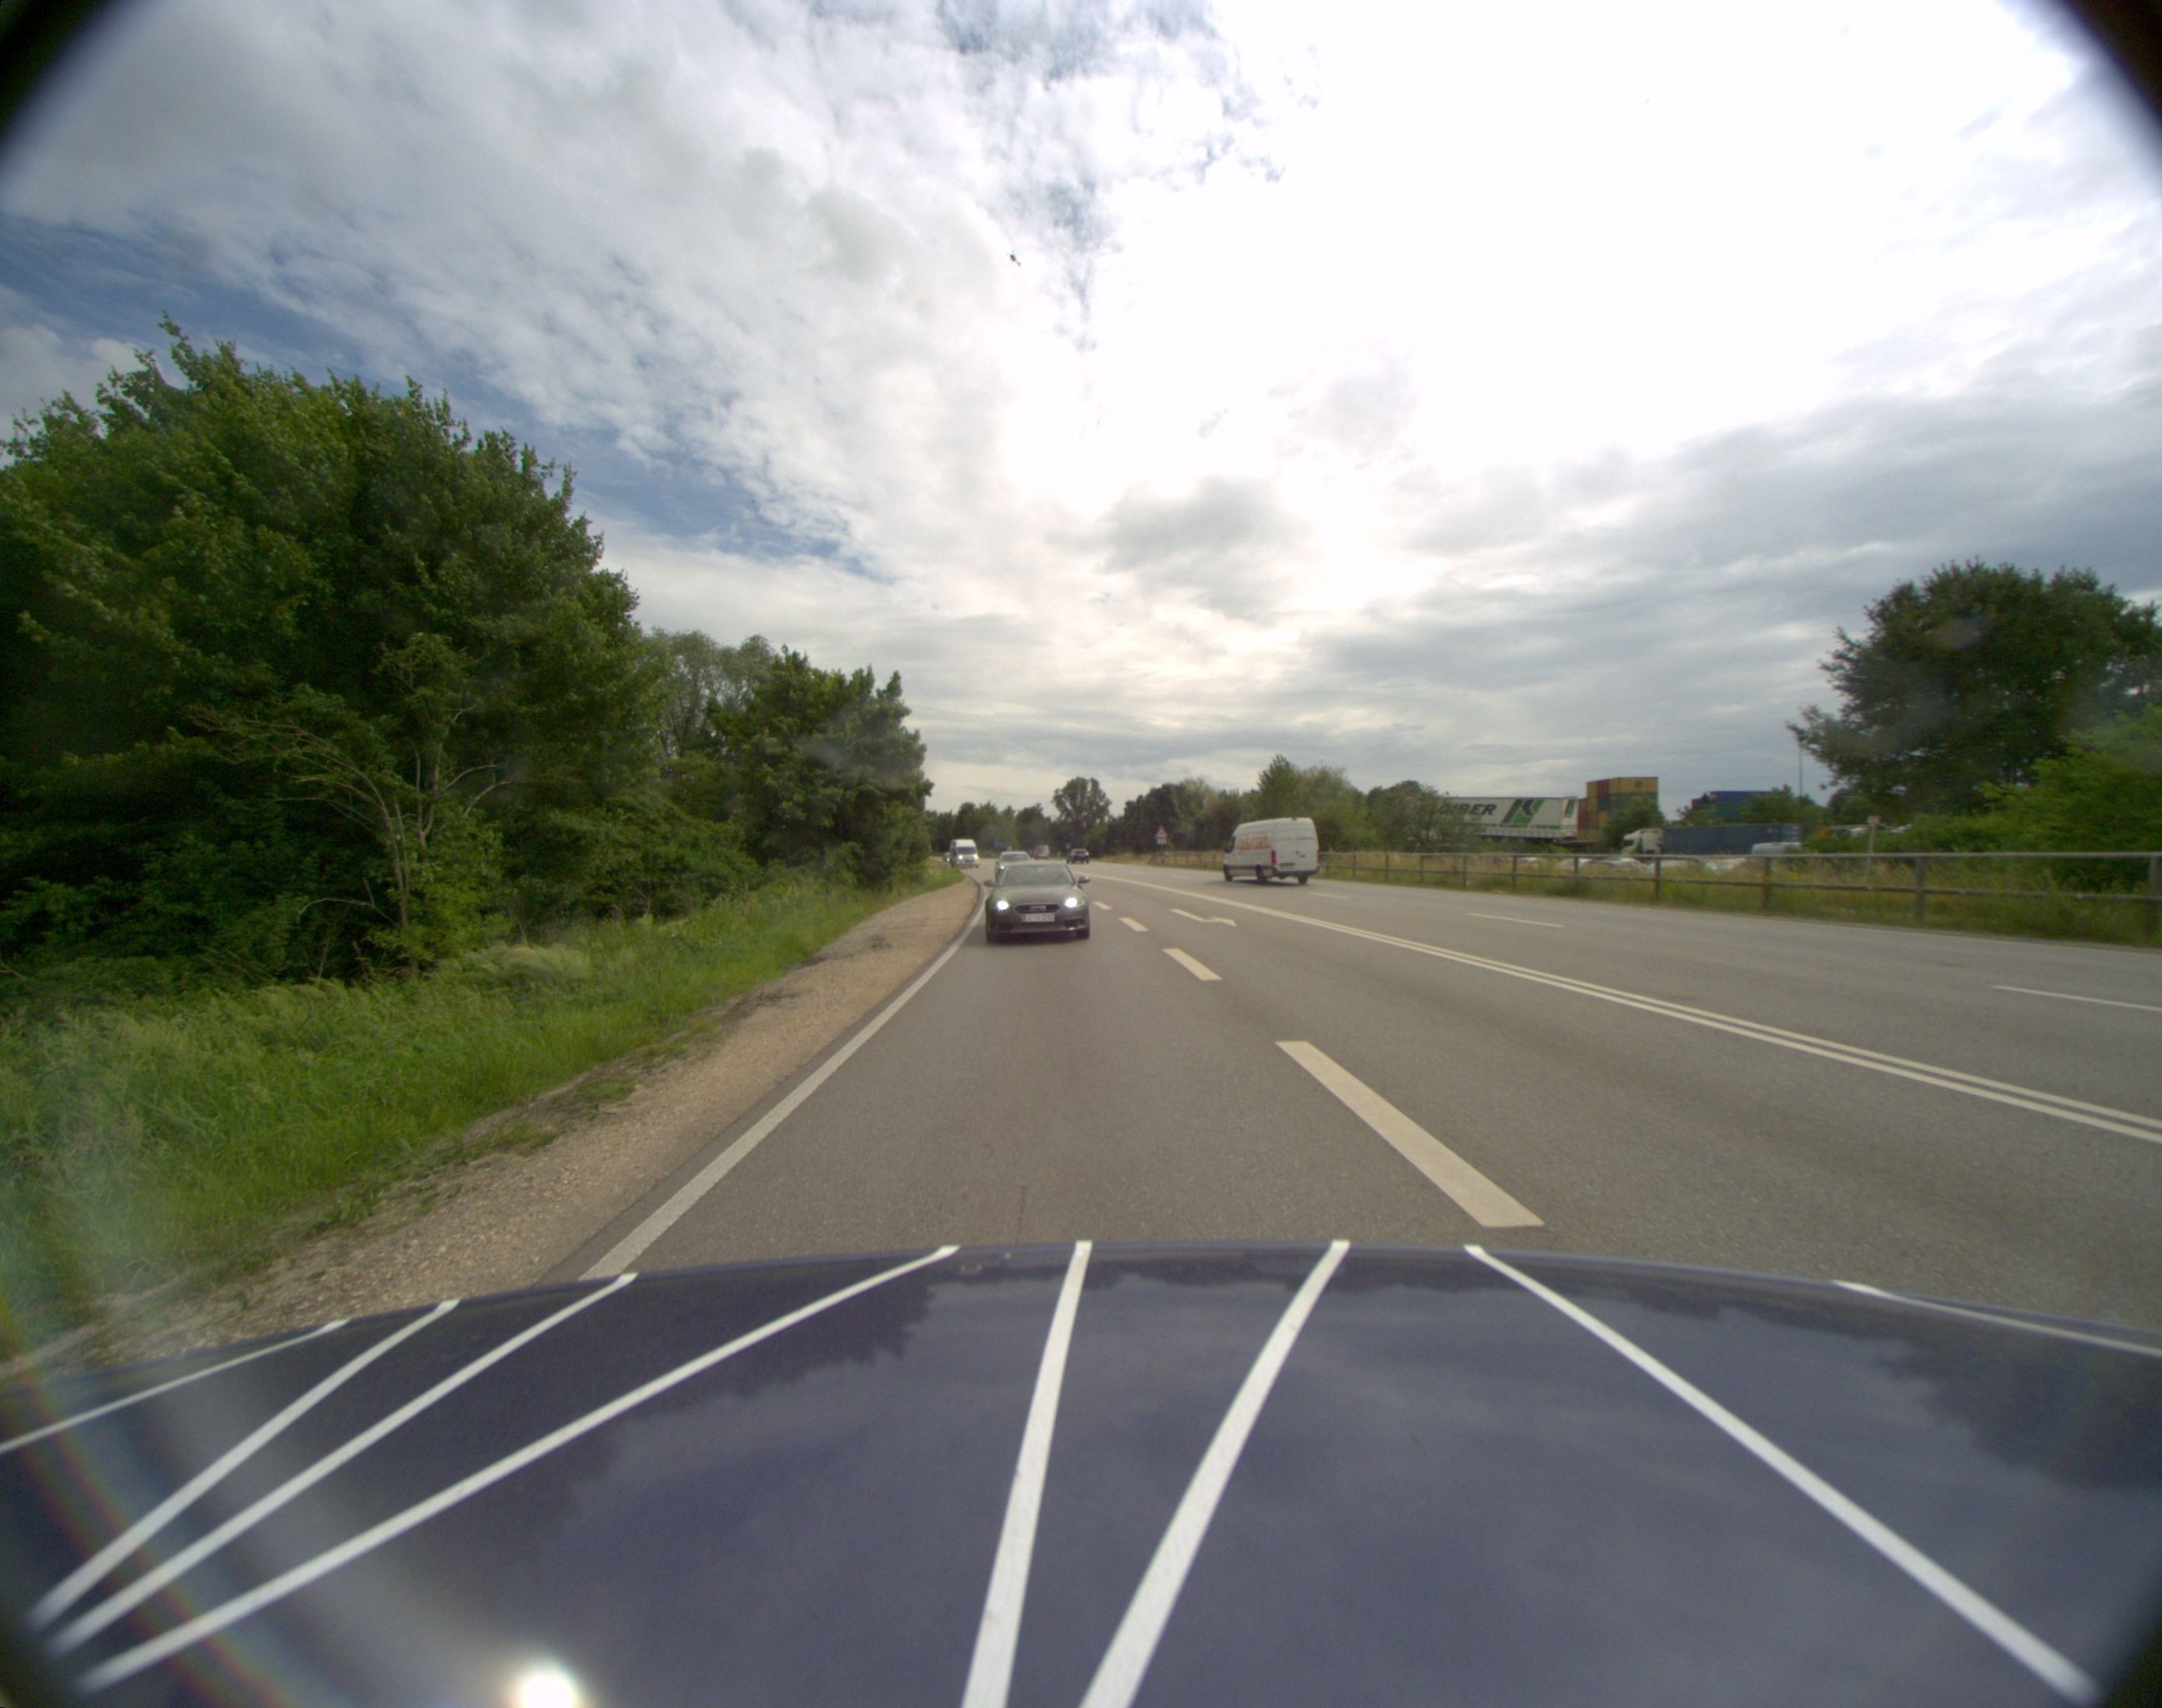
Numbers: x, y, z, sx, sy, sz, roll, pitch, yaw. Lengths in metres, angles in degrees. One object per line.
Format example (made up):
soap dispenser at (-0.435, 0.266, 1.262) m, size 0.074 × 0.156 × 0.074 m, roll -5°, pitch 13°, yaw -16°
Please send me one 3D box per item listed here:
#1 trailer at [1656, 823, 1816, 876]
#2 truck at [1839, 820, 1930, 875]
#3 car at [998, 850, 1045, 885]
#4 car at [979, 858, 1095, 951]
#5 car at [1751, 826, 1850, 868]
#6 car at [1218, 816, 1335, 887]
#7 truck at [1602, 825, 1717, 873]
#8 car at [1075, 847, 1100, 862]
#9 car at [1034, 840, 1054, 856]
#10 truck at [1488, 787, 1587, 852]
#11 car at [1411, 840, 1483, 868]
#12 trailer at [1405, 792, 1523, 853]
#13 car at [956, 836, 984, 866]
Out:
trailer at (57.108, -0.398, 66.795) m, size 3.245 × 4.268 × 10.387 m, roll -2°, pitch 1°, yaw -19°
truck at (64.897, -0.467, 61.474) m, size 4.841 × 4.268 × 2.203 m, roll -1°, pitch 1°, yaw 40°
car at (-3.170, 0.644, 39.450) m, size 2.022 × 1.603 × 4.276 m, roll -2°, pitch 1°, yaw -9°
car at (-0.933, 0.889, 15.209) m, size 1.958 × 1.527 × 3.998 m, roll -2°, pitch 0°, yaw -5°
car at (34.149, -0.342, 36.055) m, size 4.590 × 1.725 × 1.996 m, roll -3°, pitch 1°, yaw -27°
car at (8.210, -0.117, 32.897) m, size 2.441 × 2.659 × 6.883 m, roll -2°, pitch 0°, yaw -7°
truck at (55.063, -0.460, 72.617) m, size 3.245 × 4.268 × 8.304 m, roll -2°, pitch 1°, yaw -19°
car at (0.634, 0.086, 77.223) m, size 1.814 × 1.433 × 4.349 m, roll -2°, pitch 1°, yaw -9°
car at (-5.060, -0.794, 103.930) m, size 2.001 × 2.002 × 4.661 m, roll -2°, pitch 1°, yaw -12°
truck at (36.890, -2.691, 61.610) m, size 2.809 × 4.968 × 6.174 m, roll -3°, pitch 2°, yaw -33°
car at (26.781, -0.020, 55.774) m, size 4.537 × 1.865 × 2.002 m, roll -2°, pitch 1°, yaw 17°
trailer at (33.455, -2.661, 66.859) m, size 2.812 × 4.968 × 8.961 m, roll -3°, pitch 1°, yaw -33°
car at (-10.660, -0.233, 72.666) m, size 2.221 × 2.654 × 5.234 m, roll -3°, pitch 0°, yaw -12°
